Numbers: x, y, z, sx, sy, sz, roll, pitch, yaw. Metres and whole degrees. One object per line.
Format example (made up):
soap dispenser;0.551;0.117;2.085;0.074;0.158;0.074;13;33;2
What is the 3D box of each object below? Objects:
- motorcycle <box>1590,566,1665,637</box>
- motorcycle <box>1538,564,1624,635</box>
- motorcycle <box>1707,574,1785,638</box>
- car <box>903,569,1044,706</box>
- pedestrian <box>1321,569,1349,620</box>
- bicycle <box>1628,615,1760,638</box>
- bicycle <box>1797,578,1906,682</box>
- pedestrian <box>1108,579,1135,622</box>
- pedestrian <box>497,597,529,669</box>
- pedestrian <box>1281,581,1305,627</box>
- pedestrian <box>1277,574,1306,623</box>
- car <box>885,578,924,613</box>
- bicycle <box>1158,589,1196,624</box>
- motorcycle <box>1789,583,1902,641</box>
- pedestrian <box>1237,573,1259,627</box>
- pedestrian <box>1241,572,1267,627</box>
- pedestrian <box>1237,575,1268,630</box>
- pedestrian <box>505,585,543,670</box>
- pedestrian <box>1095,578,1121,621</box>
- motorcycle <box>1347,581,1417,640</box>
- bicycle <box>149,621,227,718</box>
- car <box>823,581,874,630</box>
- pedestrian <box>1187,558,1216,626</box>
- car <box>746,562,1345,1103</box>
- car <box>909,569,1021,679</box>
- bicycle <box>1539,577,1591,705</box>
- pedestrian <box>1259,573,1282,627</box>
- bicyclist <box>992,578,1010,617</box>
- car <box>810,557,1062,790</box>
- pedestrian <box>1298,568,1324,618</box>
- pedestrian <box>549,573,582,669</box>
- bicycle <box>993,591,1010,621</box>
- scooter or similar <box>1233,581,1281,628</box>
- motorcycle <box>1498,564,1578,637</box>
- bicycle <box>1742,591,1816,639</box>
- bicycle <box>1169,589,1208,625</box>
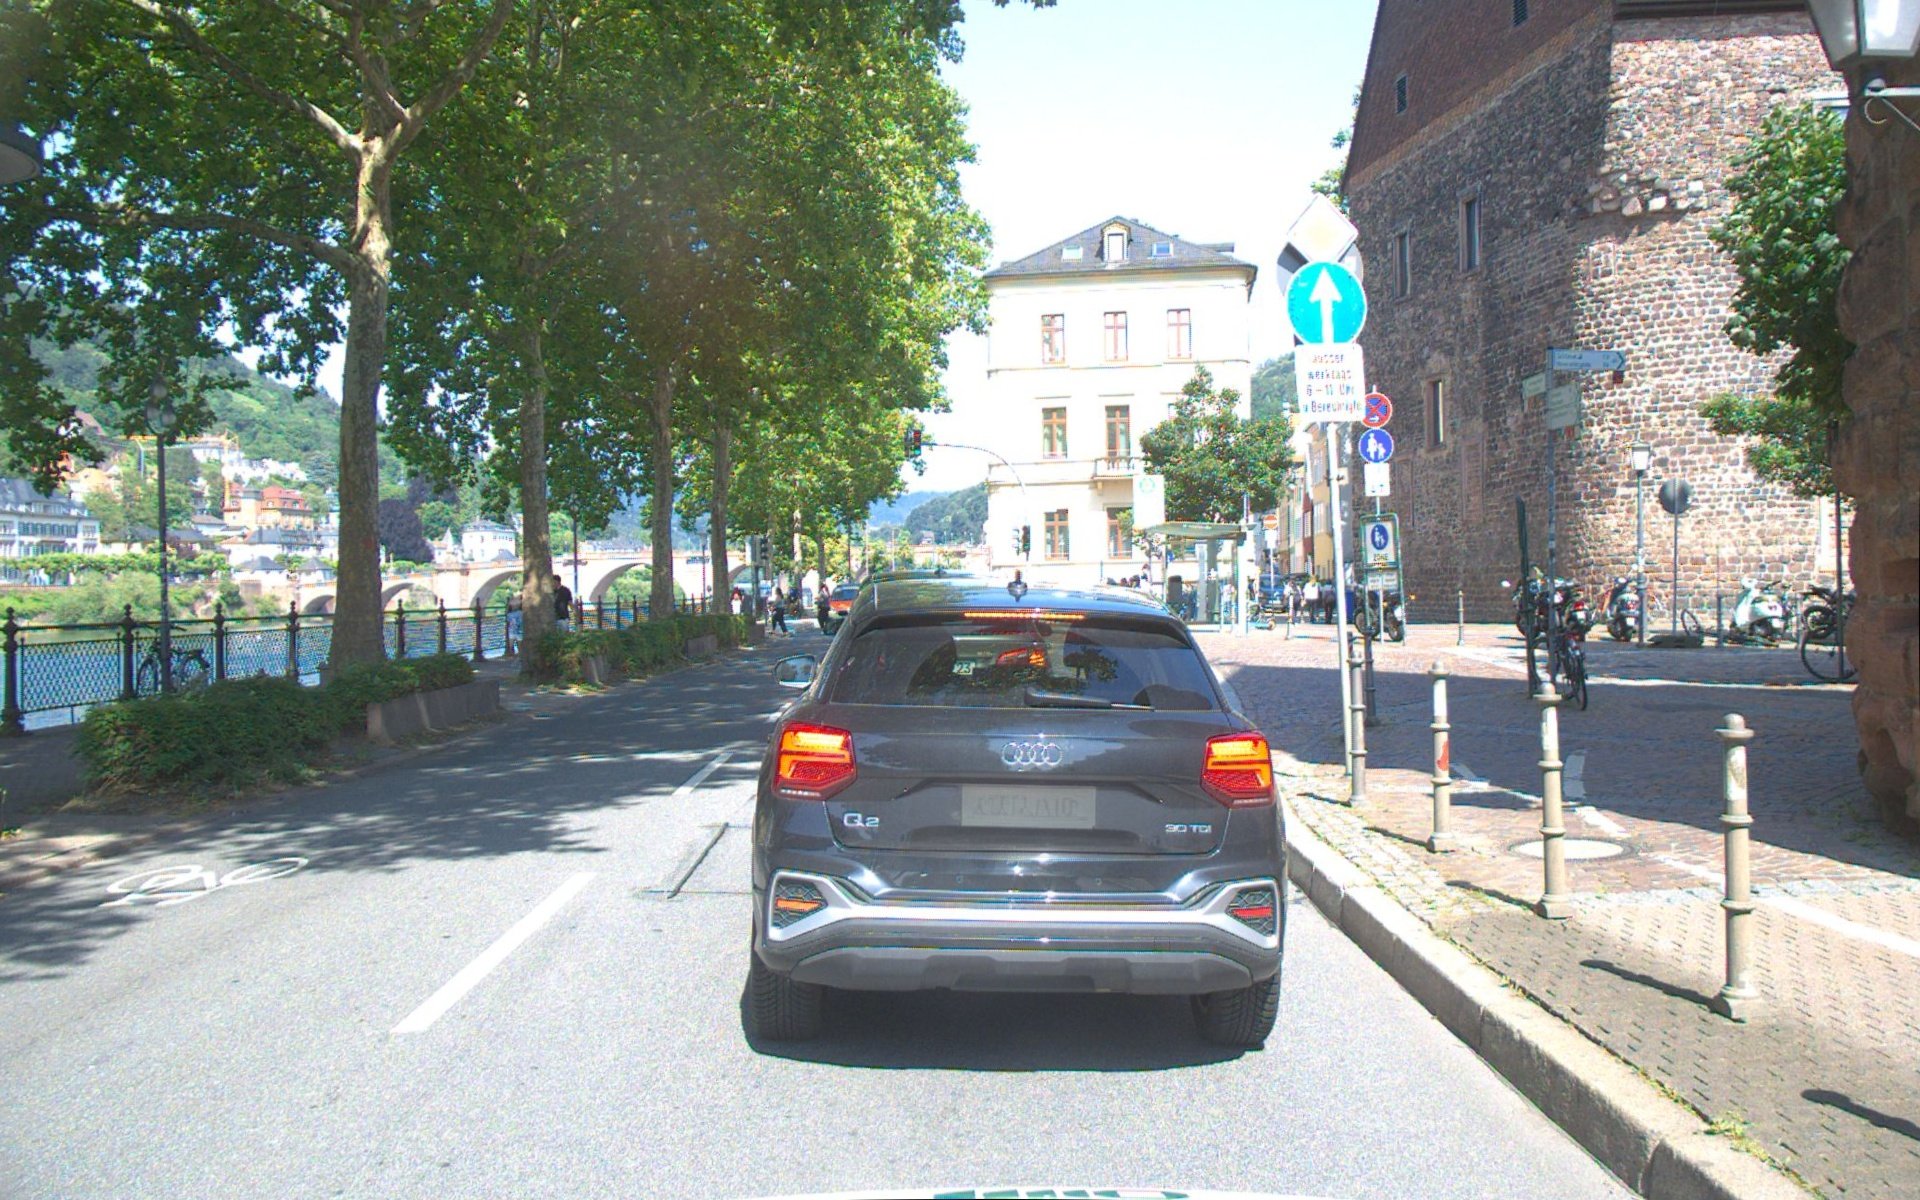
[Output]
motorcycle;12.263;0.032;30.453;0.535;1.257;2.030;1;0;-1
motorcycle;11.384;-0.003;30.391;0.661;1.257;2.312;1;0;-1
motorcycle;14.040;0.107;29.590;0.496;1.092;1.840;1;0;-1
car;0.137;0.429;21.560;1.676;1.637;3.654;0;0;-1
pedestrian;12.517;-0.183;55.213;0.677;1.640;0.891;-2;0;-1
bicycle;12.272;0.440;27.725;1.887;0.388;0.918;0;-1;14
bicycle;10.633;0.330;19.782;0.437;1.182;1.731;-1;1;3
pedestrian;4.715;0.006;48.205;0.651;1.233;0.640;1;-1;-7
pedestrian;-8.730;0.634;32.322;0.469;1.386;0.417;1;0;3
pedestrian;14.972;0.183;74.384;0.925;2.049;0.807;1;-1;-1
pedestrian;10.286;-0.052;51.379;0.626;1.469;0.797;-2;0;-7
car;-3.013;-0.217;90.514;1.952;1.838;4.000;1;0;1
bicycle;6.527;0.192;49.676;1.166;1.033;0.178;1;-1;-20
motorcycle;16.701;0.224;31.209;1.826;1.072;0.480;1;-1;7
pedestrian;12.968;-0.011;74.502;0.861;2.399;0.745;1;-1;-1
pedestrian;7.597;-0.009;42.740;0.546;1.409;0.588;1;-1;1
pedestrian;11.051;0.083;62.420;0.923;2.049;0.806;1;-1;-9
pedestrian;-8.897;0.549;33.749;0.589;1.715;0.583;-1;0;-2
pedestrian;4.376;-0.021;48.940;0.651;1.253;0.640;1;-1;-7
motorcycle;7.694;0.167;30.228;0.555;1.030;2.489;-1;1;-2
bicycle;-9.531;0.842;20.446;0.352;1.110;1.295;2;0;-2
car;-4.203;0.173;62.701;1.639;1.689;4.222;-3;1;-1
pedestrian;6.124;-0.212;41.952;0.640;1.691;0.810;-1;0;11
car;0.224;0.652;6.597;1.707;1.535;3.646;1;1;-1
car;0.053;0.367;28.147;1.758;1.711;3.999;1;0;-1
bicycle;6.151;0.388;16.864;0.189;1.224;1.771;0;1;10
pedestrian;13.963;0.003;74.332;0.861;2.399;0.745;1;-1;-1
bicyclist;1.555;-0.100;62.407;0.593;1.475;0.590;1;-1;-6
car;-0.192;0.506;13.426;1.756;1.623;3.398;1;0;-1
pedestrian;11.747;-0.229;55.363;0.595;1.647;0.710;-3;0;-1
pedestrian;-8.006;0.422;33.591;0.523;1.920;0.436;-1;0;-1
bicycle;1.563;0.218;62.400;0.428;1.105;1.675;1;0;-5
scooter or similar;7.082;0.107;39.474;1.067;1.084;0.323;1;-1;-3
motorcycle;10.514;0.016;30.164;0.642;1.288;2.199;0;0;-1
bicycle;15.129;0.272;30.603;0.346;0.835;1.926;1;1;-2
bicycle;6.781;0.199;49.052;1.184;1.053;0.178;1;-1;-20
